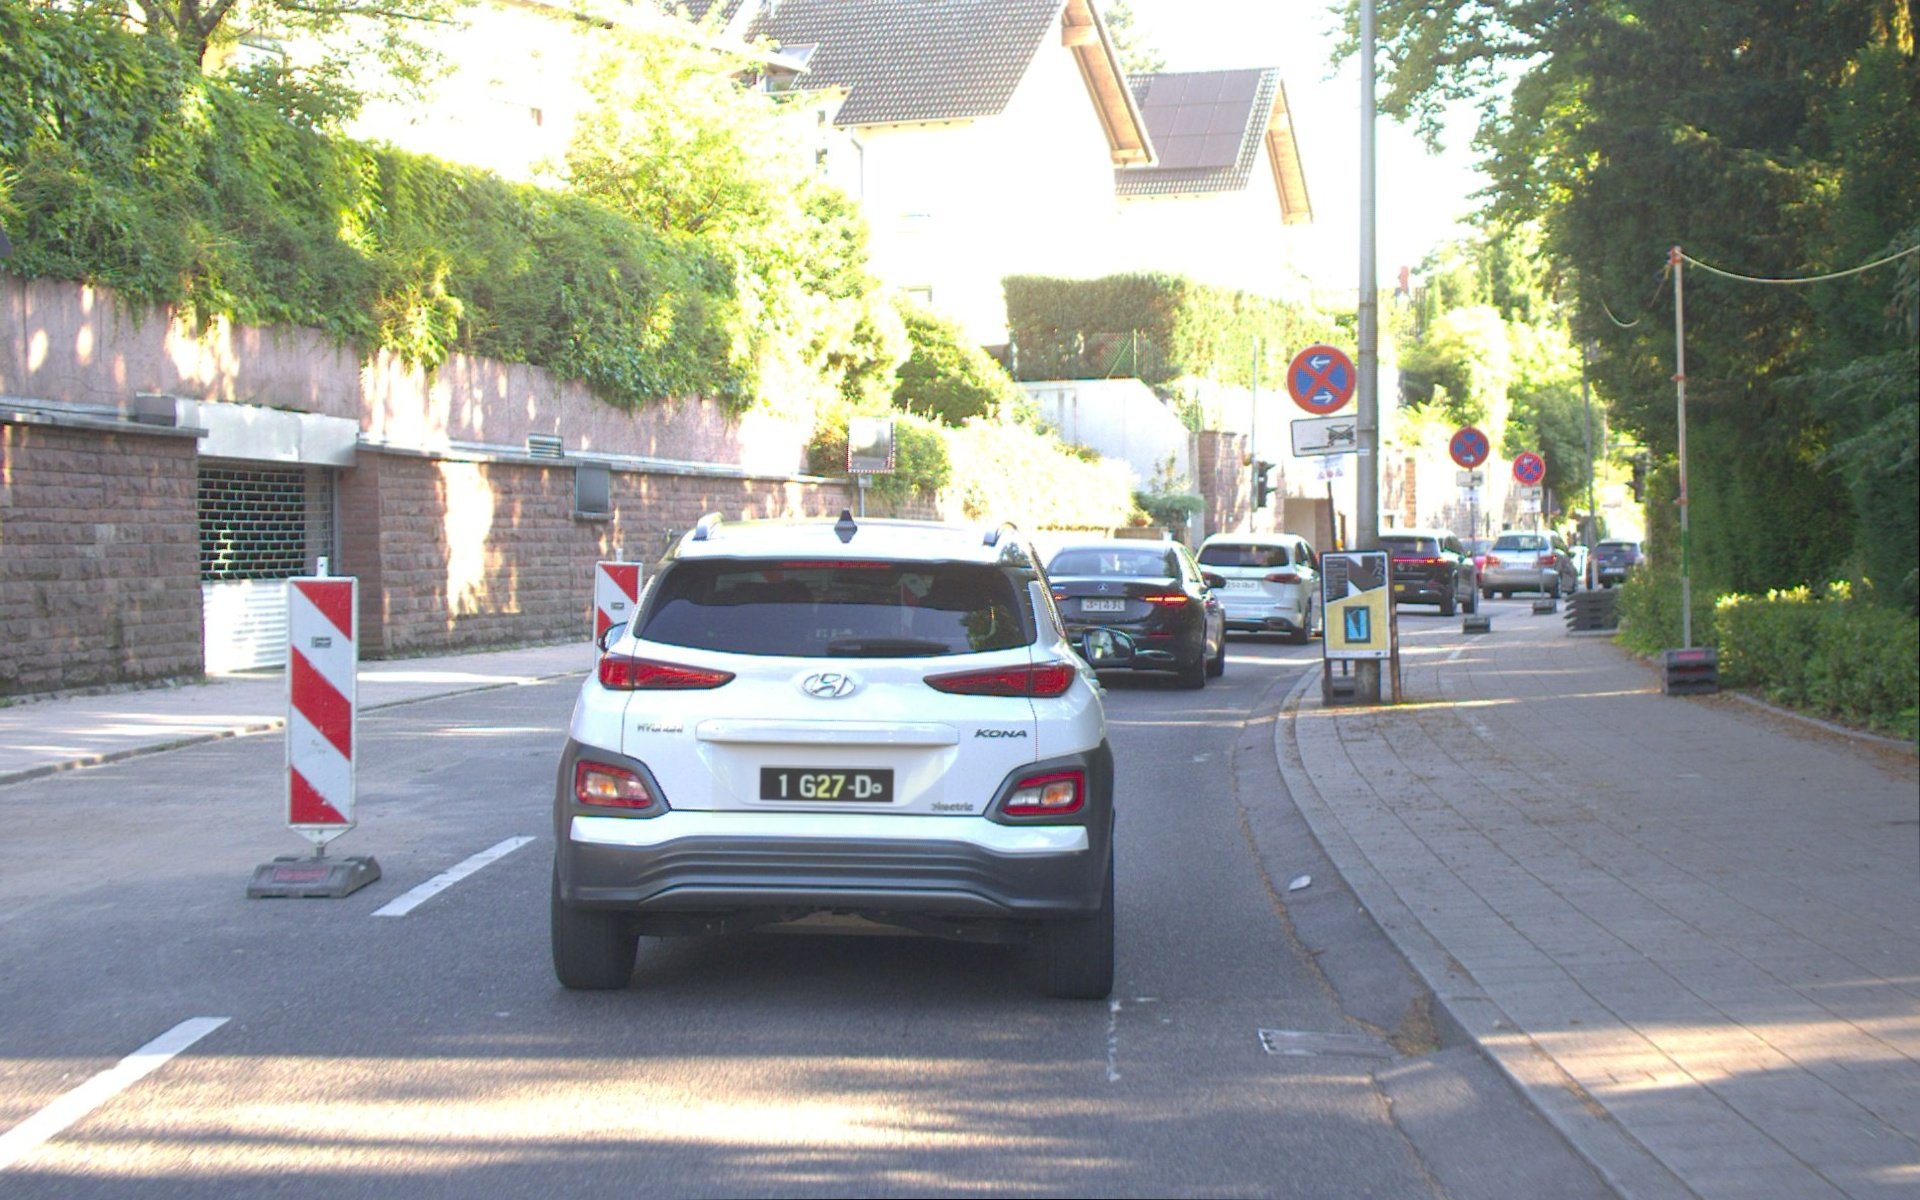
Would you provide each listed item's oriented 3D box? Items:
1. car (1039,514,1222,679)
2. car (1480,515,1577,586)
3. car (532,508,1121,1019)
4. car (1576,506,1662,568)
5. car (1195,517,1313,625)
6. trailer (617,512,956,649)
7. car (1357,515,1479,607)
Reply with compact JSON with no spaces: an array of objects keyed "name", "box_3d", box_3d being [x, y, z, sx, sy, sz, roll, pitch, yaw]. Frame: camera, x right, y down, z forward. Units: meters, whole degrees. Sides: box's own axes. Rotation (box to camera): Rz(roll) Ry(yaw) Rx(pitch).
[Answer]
[{"name":"car","box_3d":[1.732,-0.075,34.029,1.512,1.528,3.547,-1,1,7]},{"name":"car","box_3d":[13.224,-1.168,79.857,1.695,1.442,3.879,-3,1,16]},{"name":"car","box_3d":[-0.443,0.449,12.448,1.772,1.537,4.000,1,1,-1]},{"name":"car","box_3d":[17.986,-1.722,93.726,1.695,1.499,3.627,-3,1,19]},{"name":"car","box_3d":[4.218,-0.440,49.023,1.571,1.472,3.547,0,1,7]},{"name":"trailer","box_3d":[-1.931,-0.297,41.498,2.641,1.484,7.116,1,1,9]},{"name":"car","box_3d":[8.681,-0.759,64.974,1.695,1.528,3.879,-4,1,15]}]
